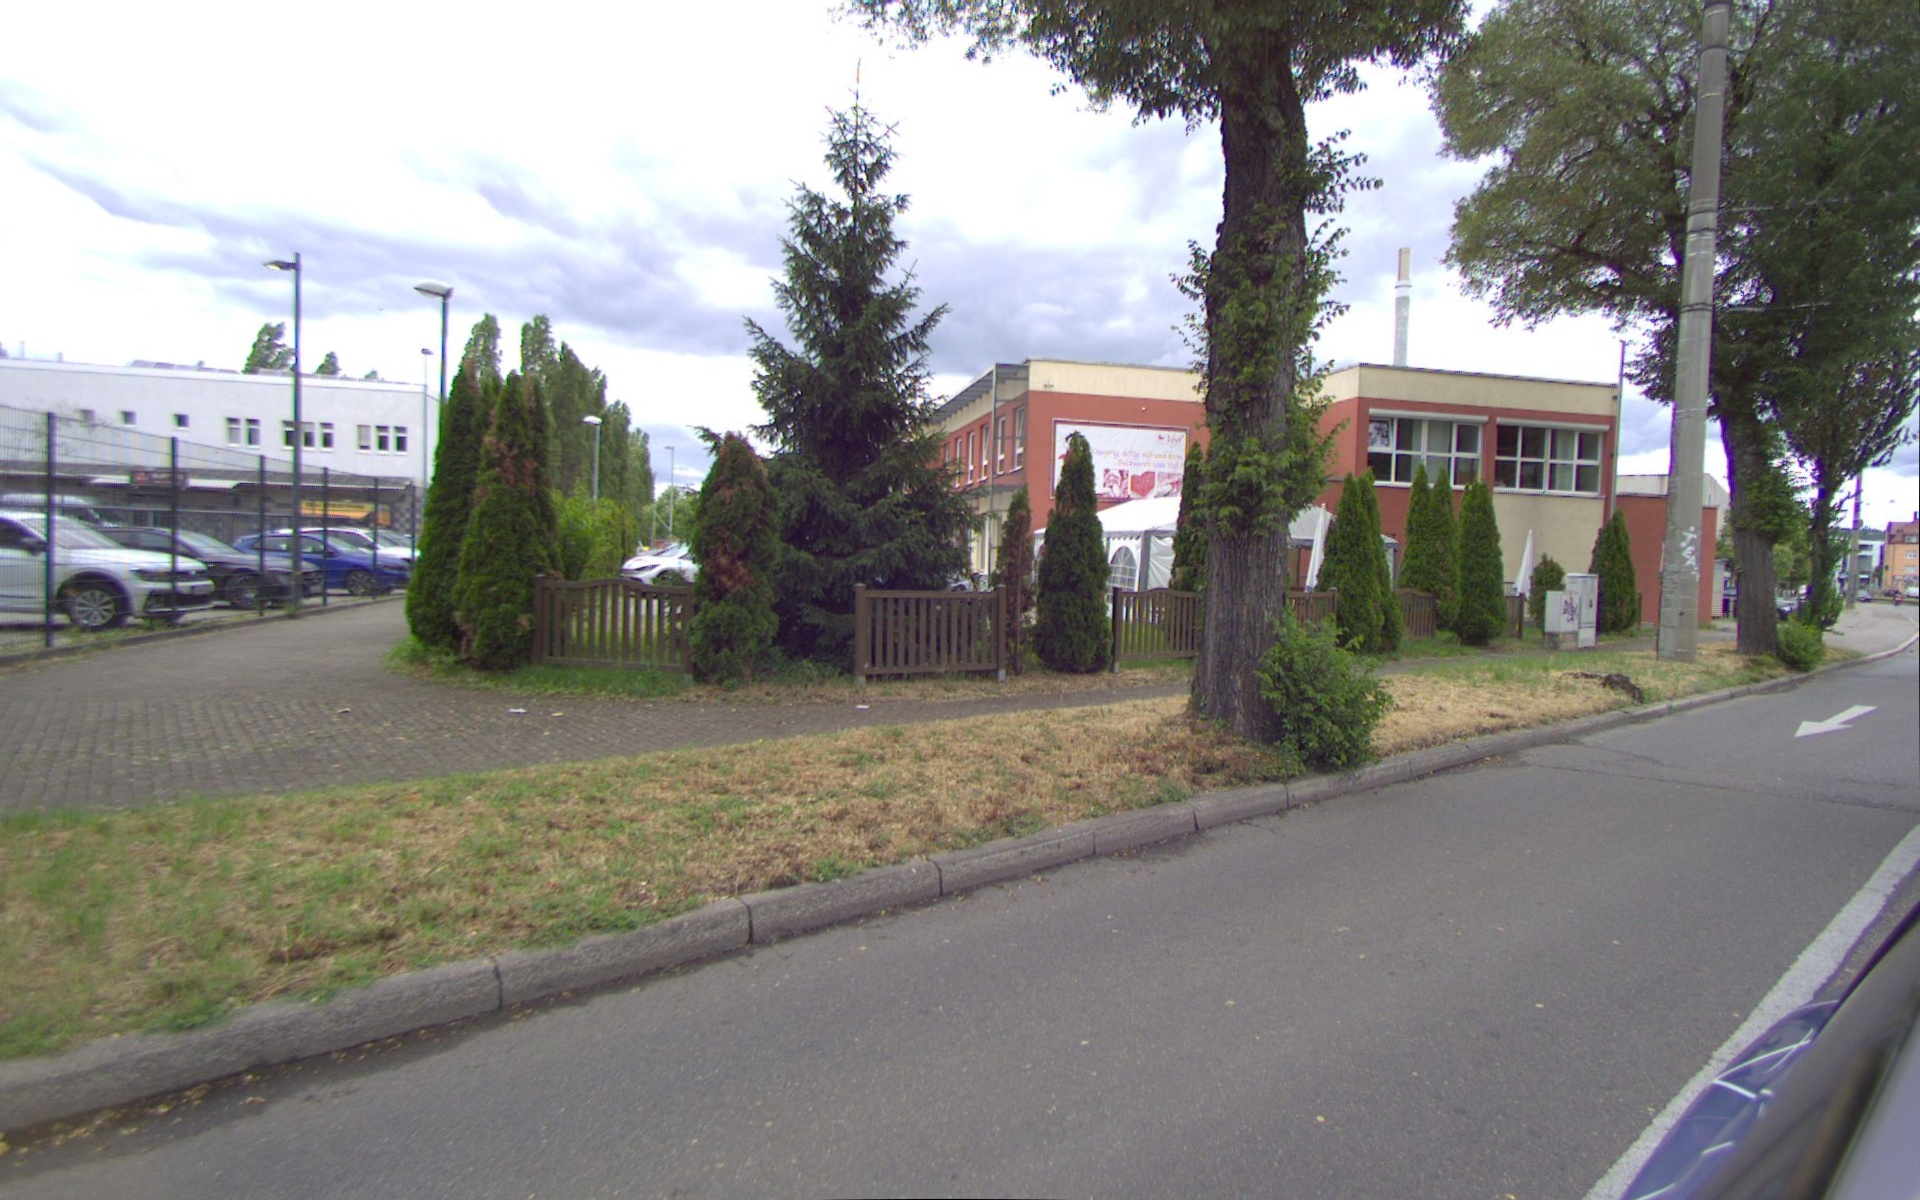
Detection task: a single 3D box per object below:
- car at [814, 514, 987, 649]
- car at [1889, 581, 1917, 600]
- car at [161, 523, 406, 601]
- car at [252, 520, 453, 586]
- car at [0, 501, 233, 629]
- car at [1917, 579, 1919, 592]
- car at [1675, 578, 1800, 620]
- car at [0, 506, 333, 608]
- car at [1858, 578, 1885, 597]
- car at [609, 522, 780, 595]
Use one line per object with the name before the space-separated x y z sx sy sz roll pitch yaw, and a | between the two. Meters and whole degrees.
car | -1.158 -0.314 17.454 1.958 2.039 4.008 -1 1 -19
car | 89.735 -0.927 96.267 1.864 1.772 3.937 0 1 44
car | -15.856 -0.900 23.996 4.407 1.685 2.005 1 2 -14
car | -16.800 -1.304 28.231 4.407 1.685 2.005 1 2 -14
car | -13.303 -0.523 14.375 4.407 1.685 2.005 1 2 -14
car | 152.847 -2.287 160.014 1.992 2.039 3.940 0 1 42
car | 32.401 -0.059 42.234 3.986 1.666 1.867 0 1 43
car | -14.413 -0.780 18.685 4.407 1.685 2.005 1 2 -14
car | 99.351 -1.384 110.263 1.903 1.737 4.072 10 9 43
car | -6.874 -1.035 26.387 3.931 1.772 1.853 -1 1 -41
